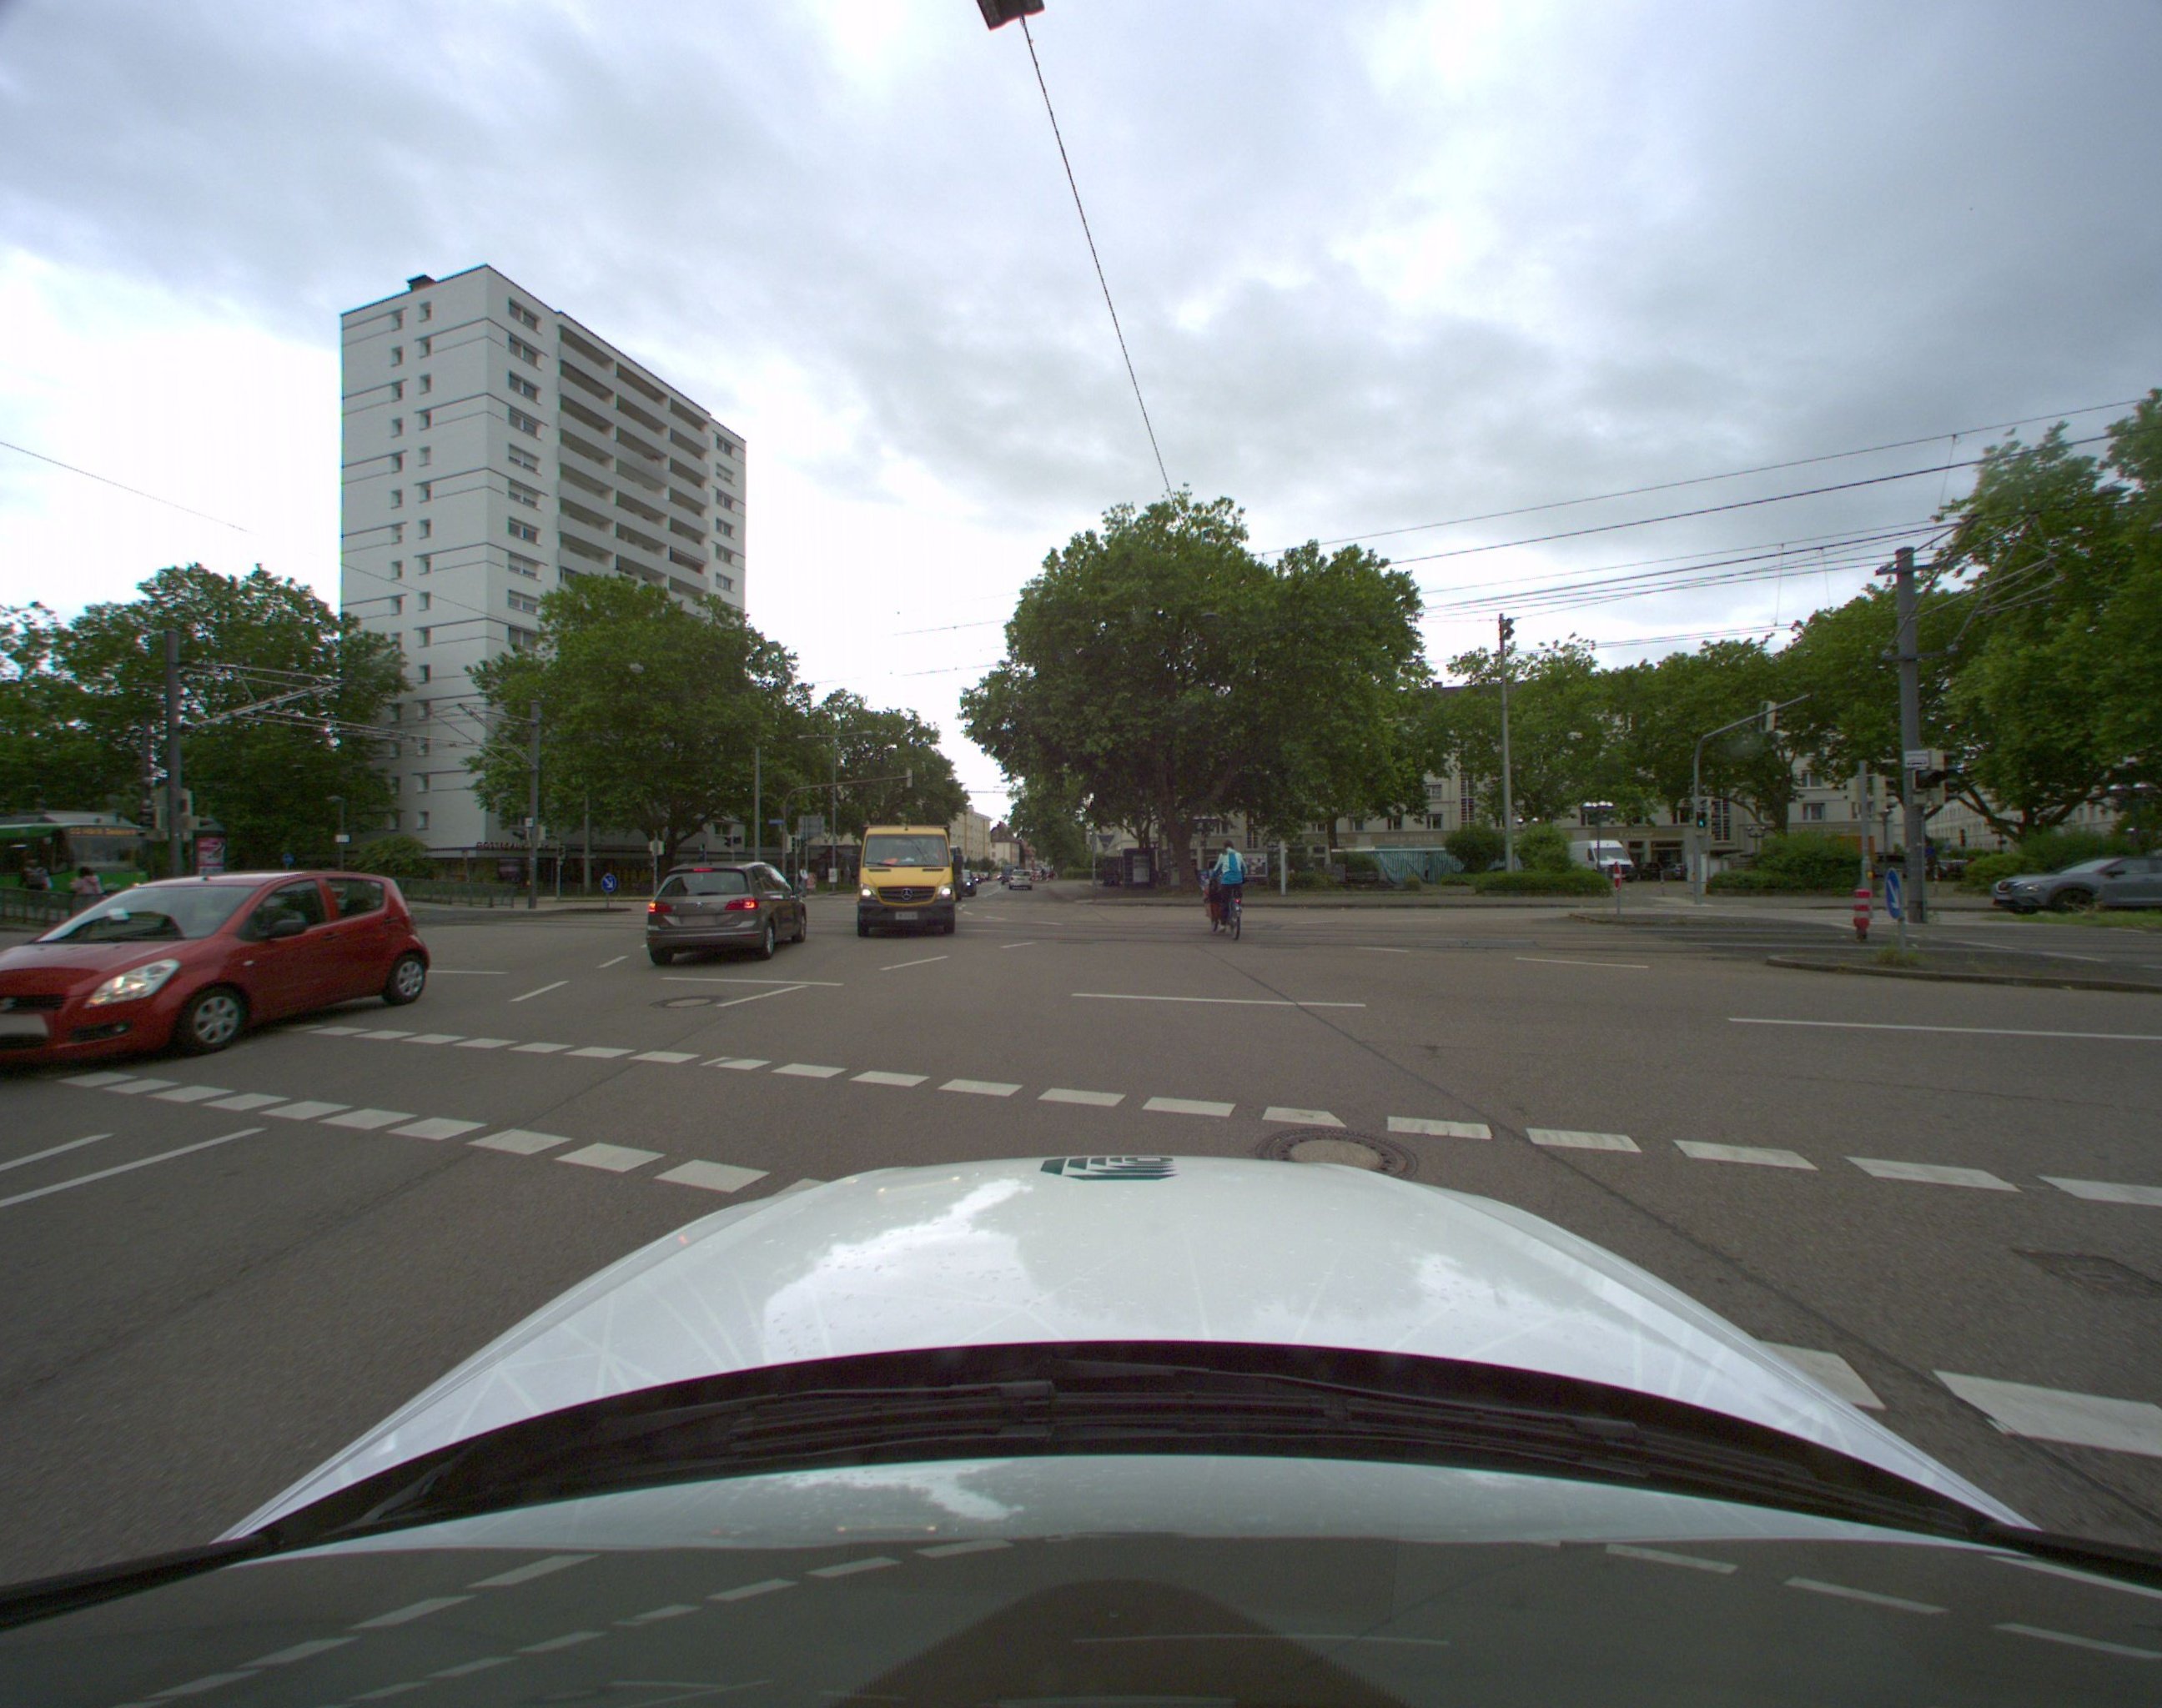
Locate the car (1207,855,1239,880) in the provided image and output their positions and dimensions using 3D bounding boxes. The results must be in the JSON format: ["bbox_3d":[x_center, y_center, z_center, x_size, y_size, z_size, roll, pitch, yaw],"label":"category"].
[{"bbox_3d":[12.901,1.229,73.818,2.156,2.201,4.020,-1,-1,20],"label":"car"}]

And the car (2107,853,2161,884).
[{"bbox_3d":[59.431,0.768,44.639,3.772,1.623,1.519,-1,-1,15],"label":"car"}]

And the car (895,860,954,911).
[{"bbox_3d":[-4.988,0.964,26.311,1.666,1.489,3.893,-1,-1,-8],"label":"car"}]

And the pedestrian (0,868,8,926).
[{"bbox_3d":[-34.812,1.386,25.944,0.476,1.864,0.619,-1,-1,19],"label":"pedestrian"}]

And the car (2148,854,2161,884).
[{"bbox_3d":[58.746,0.752,42.354,3.772,1.623,1.519,-1,-1,15],"label":"car"}]

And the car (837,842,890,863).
[{"bbox_3d":[-18.715,-0.106,70.222,4.015,1.706,1.979,1,-2,-33],"label":"car"}]

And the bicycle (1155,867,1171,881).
[{"bbox_3d":[7.146,1.759,71.002,0.771,1.168,2.345,-1,-1,21],"label":"bicycle"}]

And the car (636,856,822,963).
[{"bbox_3d":[-5.771,0.833,13.900,1.730,1.525,3.992,-1,-1,-5],"label":"car"}]

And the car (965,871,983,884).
[{"bbox_3d":[-12.900,2.827,97.981,1.849,1.453,4.161,-1,-1,-4],"label":"car"}]

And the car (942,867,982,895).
[{"bbox_3d":[-6.528,1.443,45.016,1.805,1.427,4.311,-1,-1,-4],"label":"car"}]

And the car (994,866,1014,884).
[{"bbox_3d":[-7.965,2.182,84.710,1.991,1.848,3.992,-1,-1,-6],"label":"car"}]

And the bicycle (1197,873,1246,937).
[{"bbox_3d":[2.645,0.926,15.509,0.492,1.098,2.137,-1,-1,-2],"label":"bicycle"}]

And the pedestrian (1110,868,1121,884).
[{"bbox_3d":[2.909,1.827,68.388,0.851,1.315,0.761,-1,-1,-4],"label":"pedestrian"}]

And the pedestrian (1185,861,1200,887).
[{"bbox_3d":[7.643,1.342,55.847,0.783,1.744,0.923,-1,-1,-6],"label":"pedestrian"}]

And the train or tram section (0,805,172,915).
[{"bbox_3d":[-37.794,0.288,30.248,7.179,3.761,2.699,-1,-1,19],"label":"train or tram section"}]

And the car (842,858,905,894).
[{"bbox_3d":[-11.350,1.170,44.938,1.859,1.826,5.229,-1,-1,3],"label":"car"}]

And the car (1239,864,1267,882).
[{"bbox_3d":[15.439,1.719,72.841,1.781,1.543,3.847,-1,-1,21],"label":"car"}]

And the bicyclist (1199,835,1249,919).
[{"bbox_3d":[2.664,0.423,15.264,0.684,1.518,1.057,-1,-1,-2],"label":"bicyclist"}]

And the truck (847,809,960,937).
[{"bbox_3d":[-3.971,0.391,18.327,2.076,2.408,5.439,-1,-1,-12],"label":"truck"}]

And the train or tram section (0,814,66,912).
[{"bbox_3d":[-45.080,0.416,32.689,8.205,3.761,2.699,-1,-1,19],"label":"train or tram section"}]

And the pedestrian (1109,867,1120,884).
[{"bbox_3d":[2.861,1.811,69.294,0.816,1.372,0.761,-1,-1,-4],"label":"pedestrian"}]

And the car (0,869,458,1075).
[{"bbox_3d":[-8.425,0.932,8.126,1.731,1.525,3.989,-1,-1,-8],"label":"car"}]

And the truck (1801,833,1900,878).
[{"bbox_3d":[46.637,0.138,49.485,2.368,2.591,4.005,-1,-1,5],"label":"truck"}]

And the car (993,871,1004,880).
[{"bbox_3d":[-14.189,3.739,140.549,1.764,1.486,3.994,-1,-1,-4],"label":"car"}]

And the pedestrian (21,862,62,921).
[{"bbox_3d":[-33.374,1.194,26.153,0.725,1.864,0.591,-1,-1,19],"label":"pedestrian"}]

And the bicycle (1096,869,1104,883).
[{"bbox_3d":[1.732,1.934,73.186,0.417,1.242,1.921,-1,-1,-8],"label":"bicycle"}]

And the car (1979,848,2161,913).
[{"bbox_3d":[25.768,0.662,20.455,3.944,1.561,1.695,-1,-1,19],"label":"car"}]

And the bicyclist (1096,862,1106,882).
[{"bbox_3d":[1.762,1.587,73.071,0.760,1.759,0.818,-1,-1,-8],"label":"bicyclist"}]

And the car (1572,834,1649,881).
[{"bbox_3d":[31.672,0.210,48.921,2.219,2.639,5.468,-1,-1,14],"label":"car"}]

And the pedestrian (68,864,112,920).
[{"bbox_3d":[-28.888,1.102,23.735,0.725,1.603,0.591,-1,-1,19],"label":"pedestrian"}]

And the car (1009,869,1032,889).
[{"bbox_3d":[-4.926,2.014,66.611,1.812,1.592,3.994,-1,-1,-4],"label":"car"}]

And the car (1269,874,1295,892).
[{"bbox_3d":[17.985,2.572,72.846,1.781,1.440,3.847,-1,-1,21],"label":"car"}]

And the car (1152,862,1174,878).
[{"bbox_3d":[7.707,1.501,76.062,1.504,1.428,4.015,-1,-1,14],"label":"car"}]

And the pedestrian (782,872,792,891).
[{"bbox_3d":[-24.108,2.232,66.806,0.417,1.545,0.625,-1,-2,19],"label":"pedestrian"}]

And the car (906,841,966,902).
[{"bbox_3d":[-6.261,0.746,35.758,2.131,2.451,5.567,-1,-1,-6],"label":"car"}]

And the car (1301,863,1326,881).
[{"bbox_3d":[20.593,1.572,72.057,1.781,1.516,3.847,-1,-1,21],"label":"car"}]
